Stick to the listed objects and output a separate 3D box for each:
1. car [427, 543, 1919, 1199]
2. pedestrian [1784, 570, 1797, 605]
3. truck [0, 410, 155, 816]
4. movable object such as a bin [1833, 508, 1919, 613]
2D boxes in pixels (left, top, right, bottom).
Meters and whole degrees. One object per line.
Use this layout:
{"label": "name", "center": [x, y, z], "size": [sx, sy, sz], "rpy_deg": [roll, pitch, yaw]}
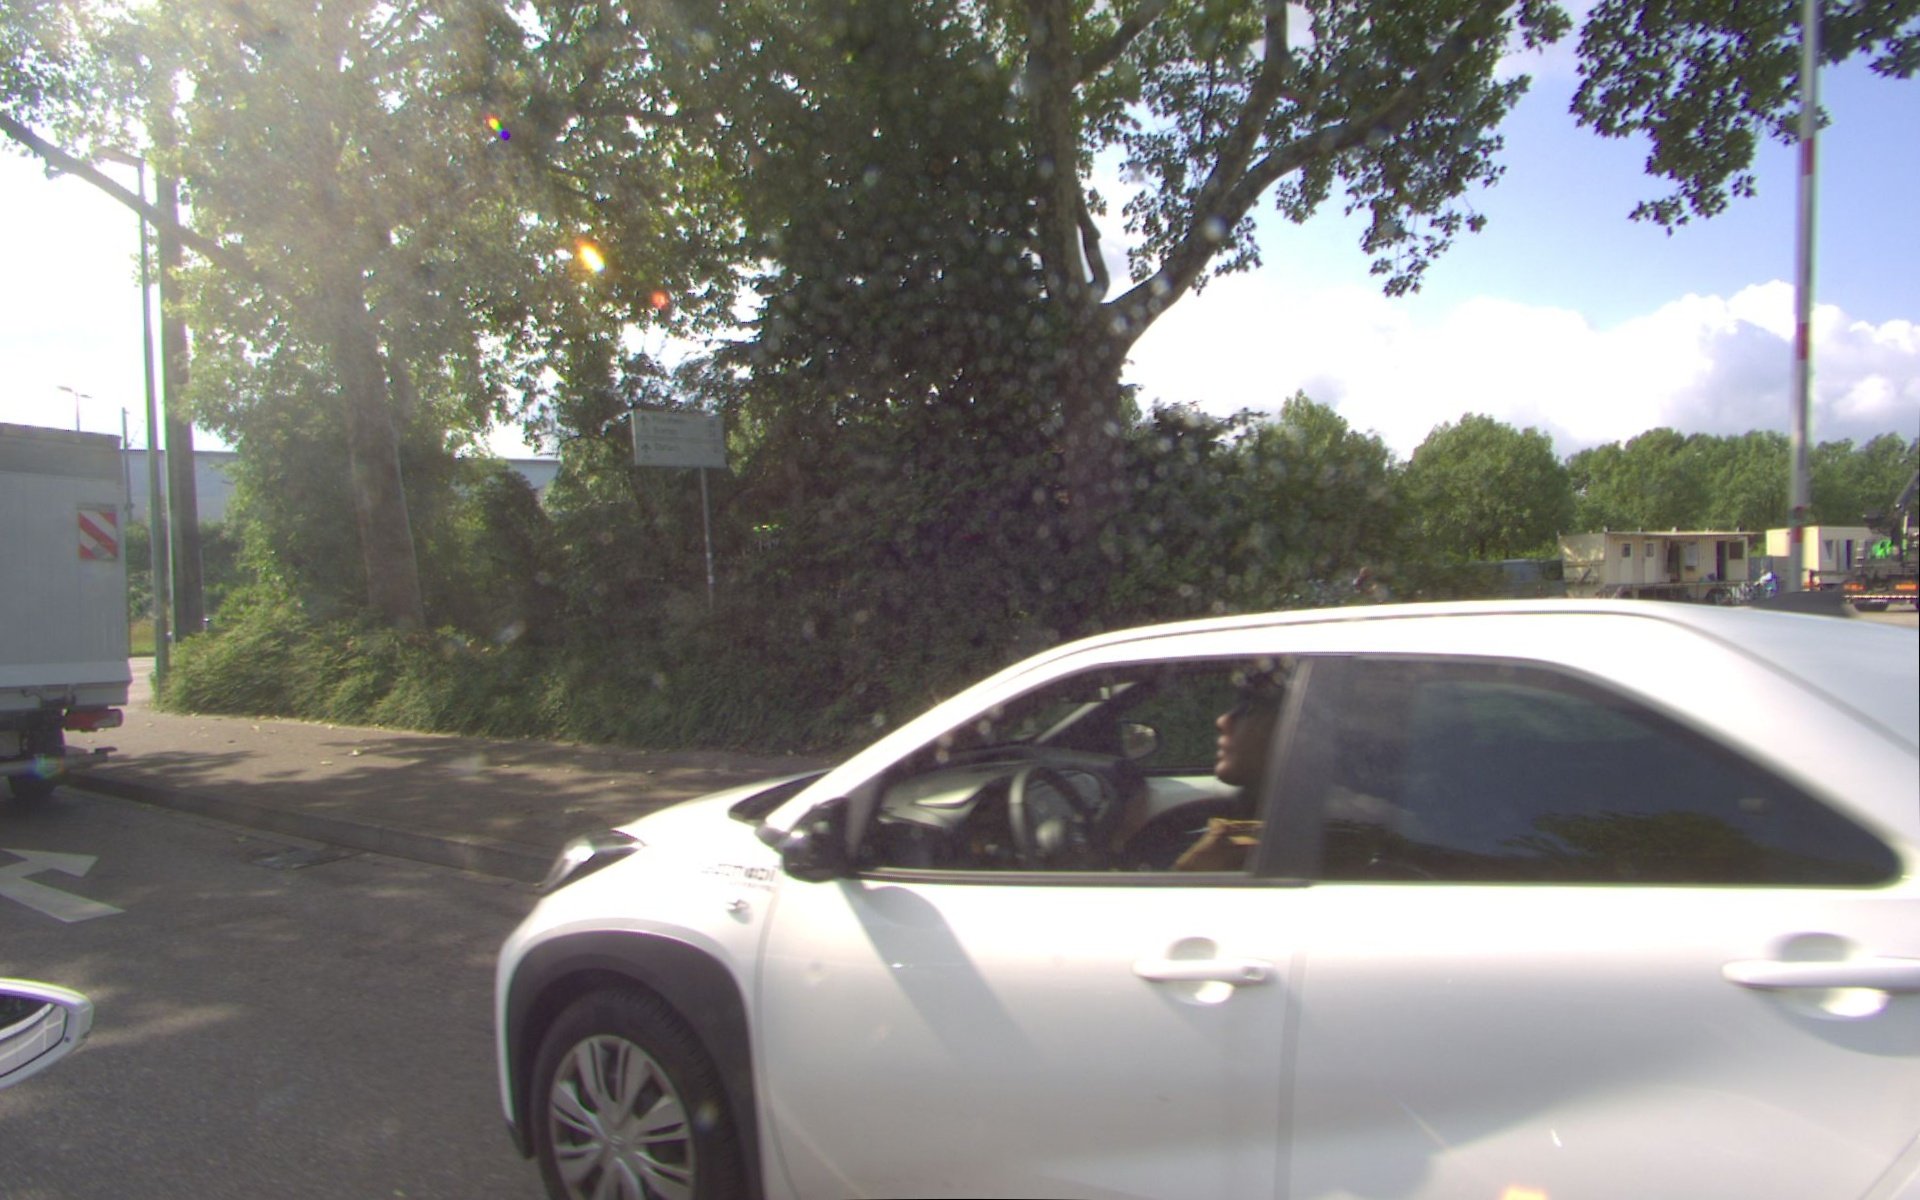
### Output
{"label": "car", "center": [0.708, 0.708, 2.359], "size": [3.741, 1.498, 1.743], "rpy_deg": [0, -1, 29]}
{"label": "pedestrian", "center": [40.580, -0.606, 48.938], "size": [0.422, 1.705, 0.256], "rpy_deg": [0, -1, 14]}
{"label": "truck", "center": [-10.057, 0.167, 9.248], "size": [5.945, 3.161, 2.441], "rpy_deg": [-2, -1, 34]}
{"label": "movable object such as a bin", "center": [34.168, -1.367, 34.877], "size": [7.303, 3.418, 2.708], "rpy_deg": [-1, 1, -22]}
